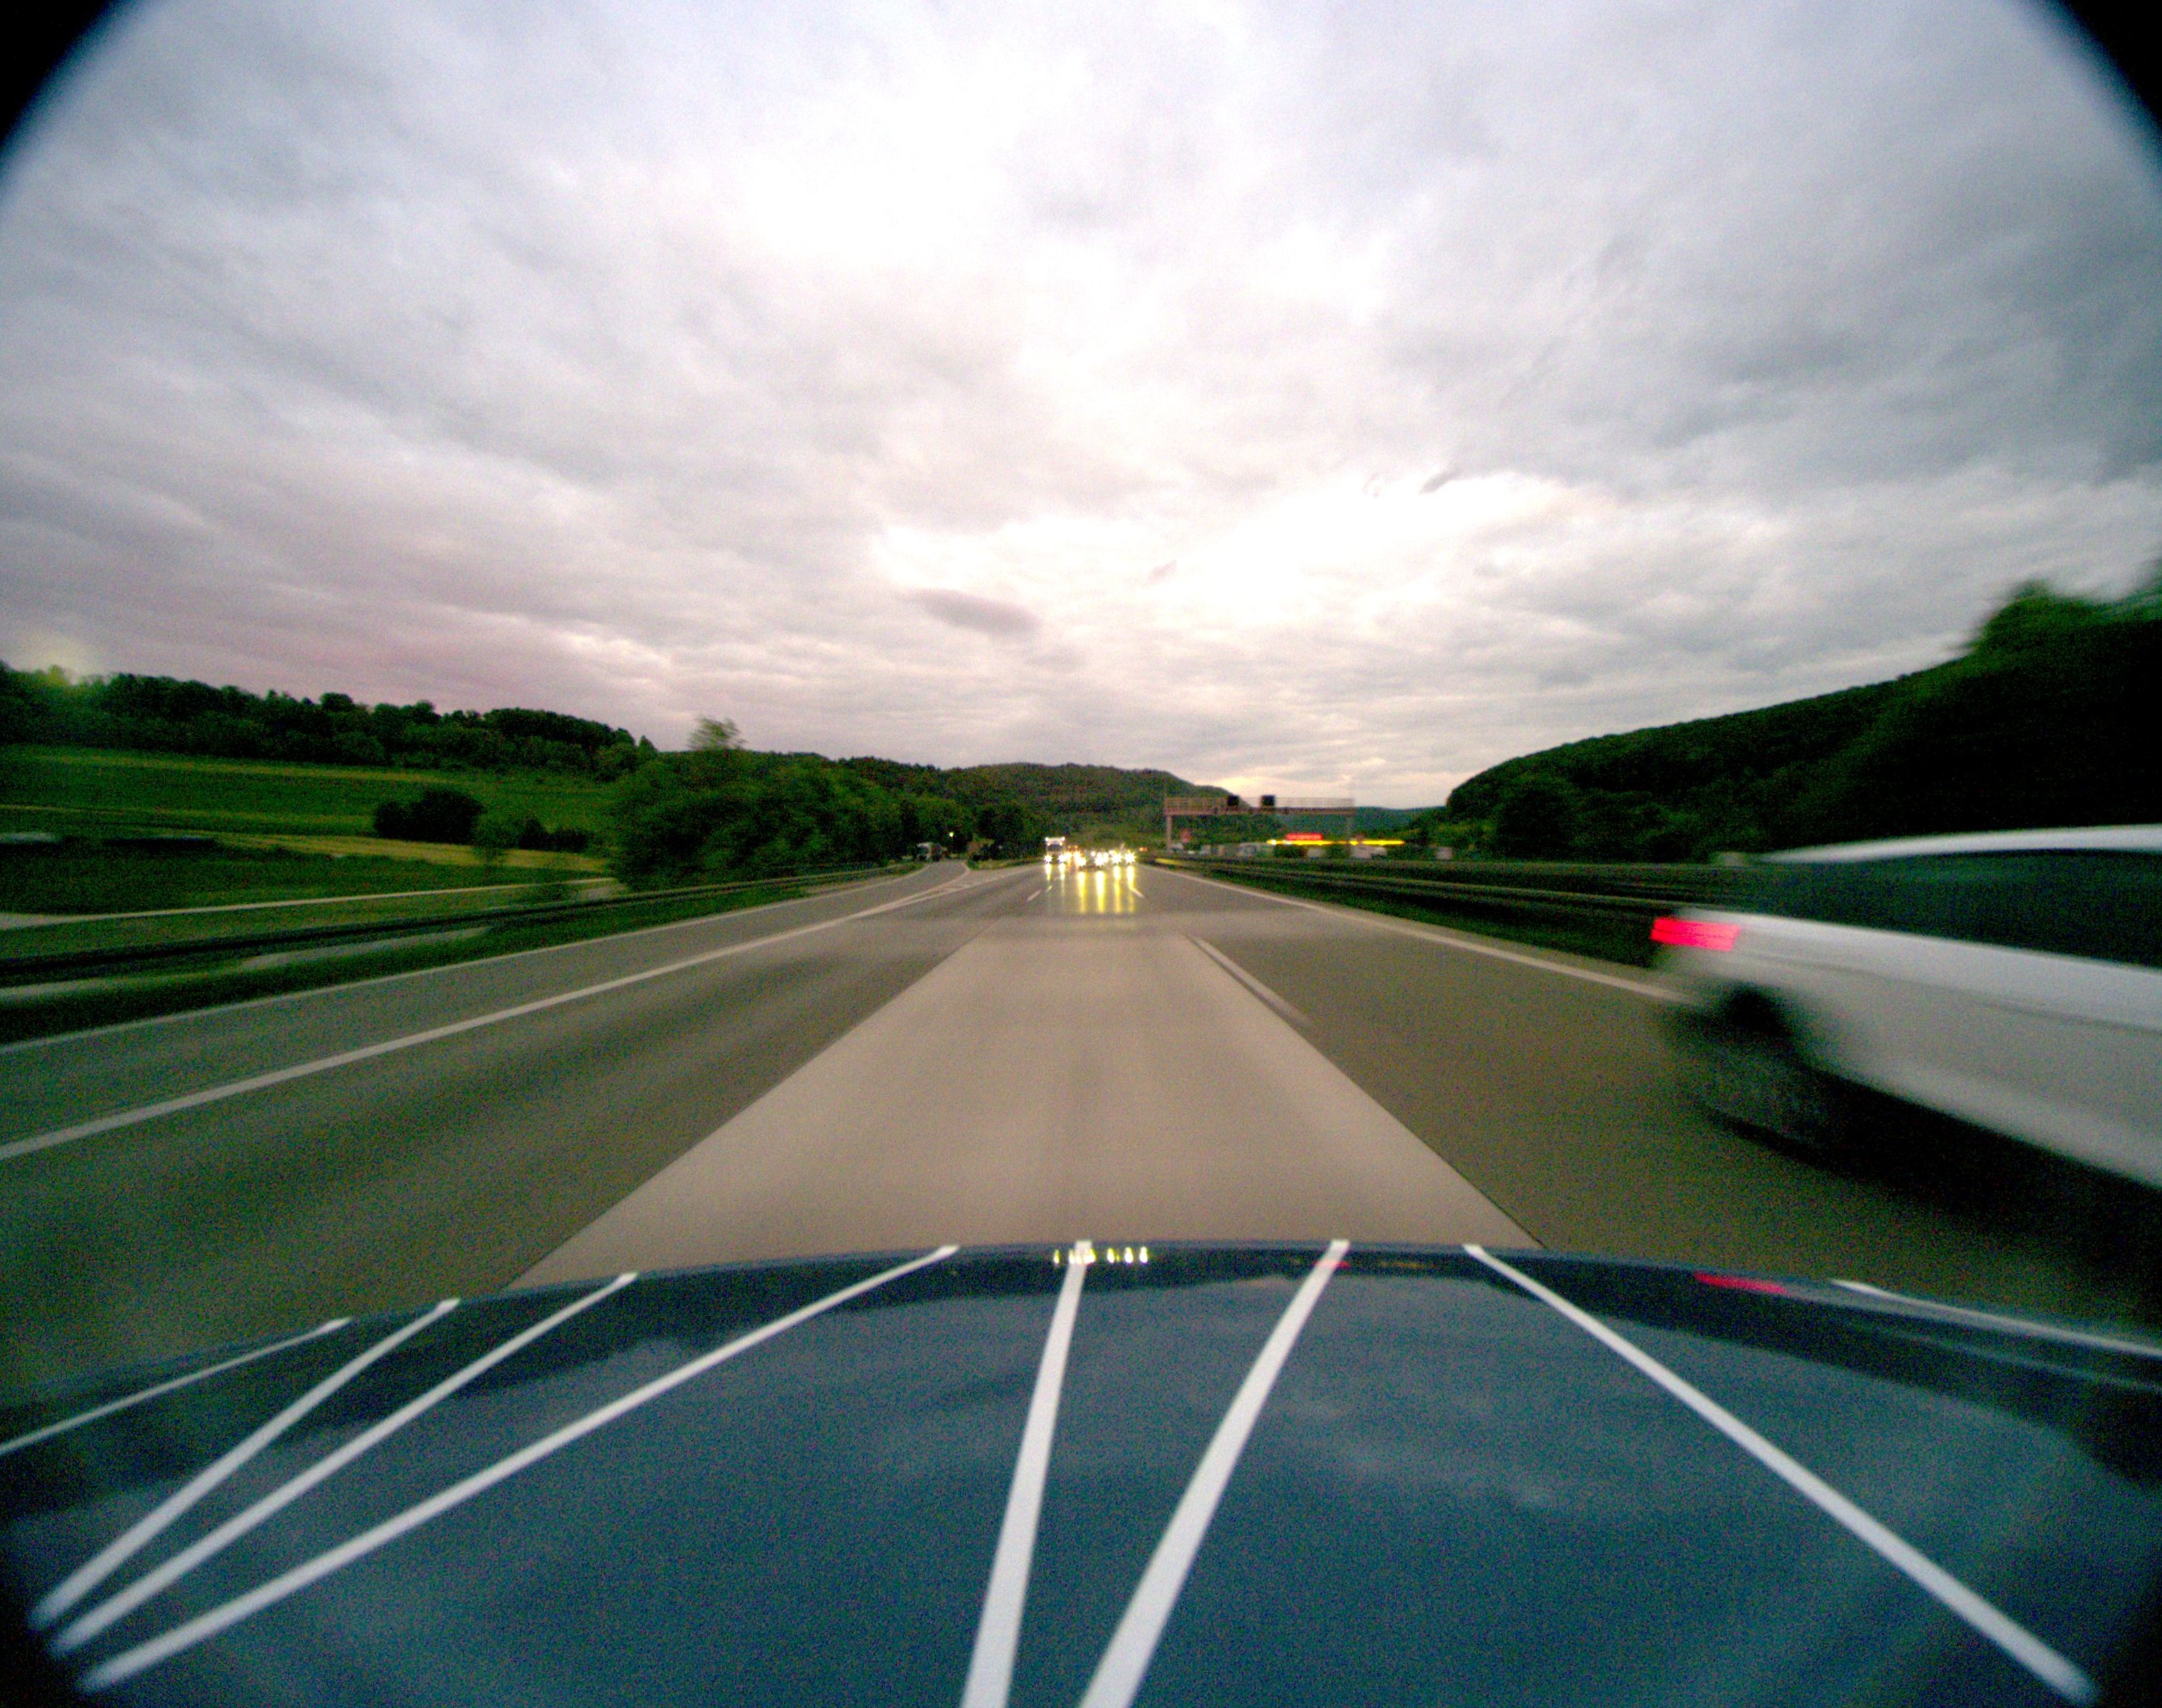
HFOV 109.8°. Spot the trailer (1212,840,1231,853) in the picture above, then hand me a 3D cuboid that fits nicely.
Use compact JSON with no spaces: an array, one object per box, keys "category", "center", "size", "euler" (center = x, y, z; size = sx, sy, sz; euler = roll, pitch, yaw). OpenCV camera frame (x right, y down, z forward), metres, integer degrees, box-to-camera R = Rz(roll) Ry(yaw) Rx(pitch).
[{"category":"trailer","center":[36.902,-1.981,199.983],"size":[2.880,3.405,13.571],"euler":[-1,0,2]}]

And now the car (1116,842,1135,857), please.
[{"category":"car","center":[4.951,-0.518,84.768],"size":[1.894,1.650,5.639],"euler":[-1,1,1]}]

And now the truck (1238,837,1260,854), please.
[{"category":"truck","center":[34.834,-1.726,157.743],"size":[2.881,3.405,6.724],"euler":[-1,0,-3]}]

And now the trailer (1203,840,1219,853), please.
[{"category":"trailer","center":[37.576,-2.153,219.525],"size":[2.880,3.405,13.225],"euler":[-1,0,2]}]

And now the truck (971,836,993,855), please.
[{"category":"truck","center":[-22.960,-1.913,176.700],"size":[3.785,4.205,19.517],"euler":[0,1,-4]}]

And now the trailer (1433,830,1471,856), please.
[{"category":"trailer","center":[61.779,-1.800,126.284],"size":[3.280,4.082,14.475],"euler":[1,1,36]}]

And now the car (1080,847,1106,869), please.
[{"category":"car","center":[0.962,0.288,60.862],"size":[1.927,1.674,4.806],"euler":[0,1,1]}]

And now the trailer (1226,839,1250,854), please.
[{"category":"trailer","center":[36.085,-1.674,174.925],"size":[2.880,3.405,13.850],"euler":[-1,0,2]}]

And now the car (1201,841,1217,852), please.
[{"category":"car","center":[19.737,-1.183,117.311],"size":[1.734,1.577,4.644],"euler":[-1,1,0]}]

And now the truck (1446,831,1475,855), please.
[{"category":"truck","center":[66.038,-1.859,132.134],"size":[3.280,4.082,8.233],"euler":[1,1,36]}]

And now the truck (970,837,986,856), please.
[{"category":"truck","center":[-21.236,-1.527,156.895],"size":[2.847,3.893,11.981],"euler":[0,1,-6]}]

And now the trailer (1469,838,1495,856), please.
[{"category":"trailer","center":[81.584,-1.518,154.490],"size":[2.932,3.499,13.446],"euler":[1,1,35]}]

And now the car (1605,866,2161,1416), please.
[{"category":"car","center":[4.022,0.864,2.017],"size":[1.794,1.492,5.037],"euler":[-2,0,0]}]

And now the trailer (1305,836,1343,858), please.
[{"category":"trailer","center":[50.462,-1.477,158.411],"size":[3.025,4.235,15.946],"euler":[-1,0,2]}]

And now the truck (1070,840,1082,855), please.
[{"category":"truck","center":[-1.352,-1.783,213.312],"size":[3.119,3.850,14.161],"euler":[2,1,1]}]

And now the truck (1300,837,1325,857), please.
[{"category":"truck","center":[50.687,-1.532,166.481],"size":[3.025,4.235,8.864],"euler":[-1,1,1]}]

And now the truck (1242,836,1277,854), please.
[{"category":"truck","center":[35.209,-1.684,150.632],"size":[2.881,3.405,13.784],"euler":[-1,0,-3]}]

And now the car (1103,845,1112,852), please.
[{"category":"car","center":[6.102,-1.246,175.270],"size":[1.898,1.503,3.999],"euler":[-1,1,0]}]

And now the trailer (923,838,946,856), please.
[{"category":"trailer","center":[-32.582,-1.501,169.200],"size":[2.846,3.893,13.572],"euler":[0,1,-1]}]

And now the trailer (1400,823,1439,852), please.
[{"category":"trailer","center":[46.086,-2.238,103.208],"size":[3.063,3.657,13.368],"euler":[-1,1,31]}]

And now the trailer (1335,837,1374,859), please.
[{"category":"trailer","center":[49.828,-1.107,138.775],"size":[2.880,3.657,12.716],"euler":[-1,0,2]}]

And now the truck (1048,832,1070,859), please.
[{"category":"truck","center":[-3.206,-1.276,114.088],"size":[2.623,3.805,10.385],"euler":[0,1,1]}]

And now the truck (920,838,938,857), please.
[{"category":"truck","center":[-32.423,-1.418,162.392],"size":[2.846,3.894,6.382],"euler":[0,1,-2]}]

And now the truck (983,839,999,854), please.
[{"category":"truck","center":[-23.737,-1.900,201.796],"size":[3.362,3.893,11.984],"euler":[0,1,-3]}]

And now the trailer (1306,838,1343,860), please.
[{"category":"trailer","center":[50.540,-1.007,158.418],"size":[3.025,4.235,15.946],"euler":[-1,0,2]}]

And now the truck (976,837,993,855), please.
[{"category":"truck","center":[-23.613,-2.027,186.531],"size":[3.783,4.205,8.811],"euler":[0,1,-4]}]
